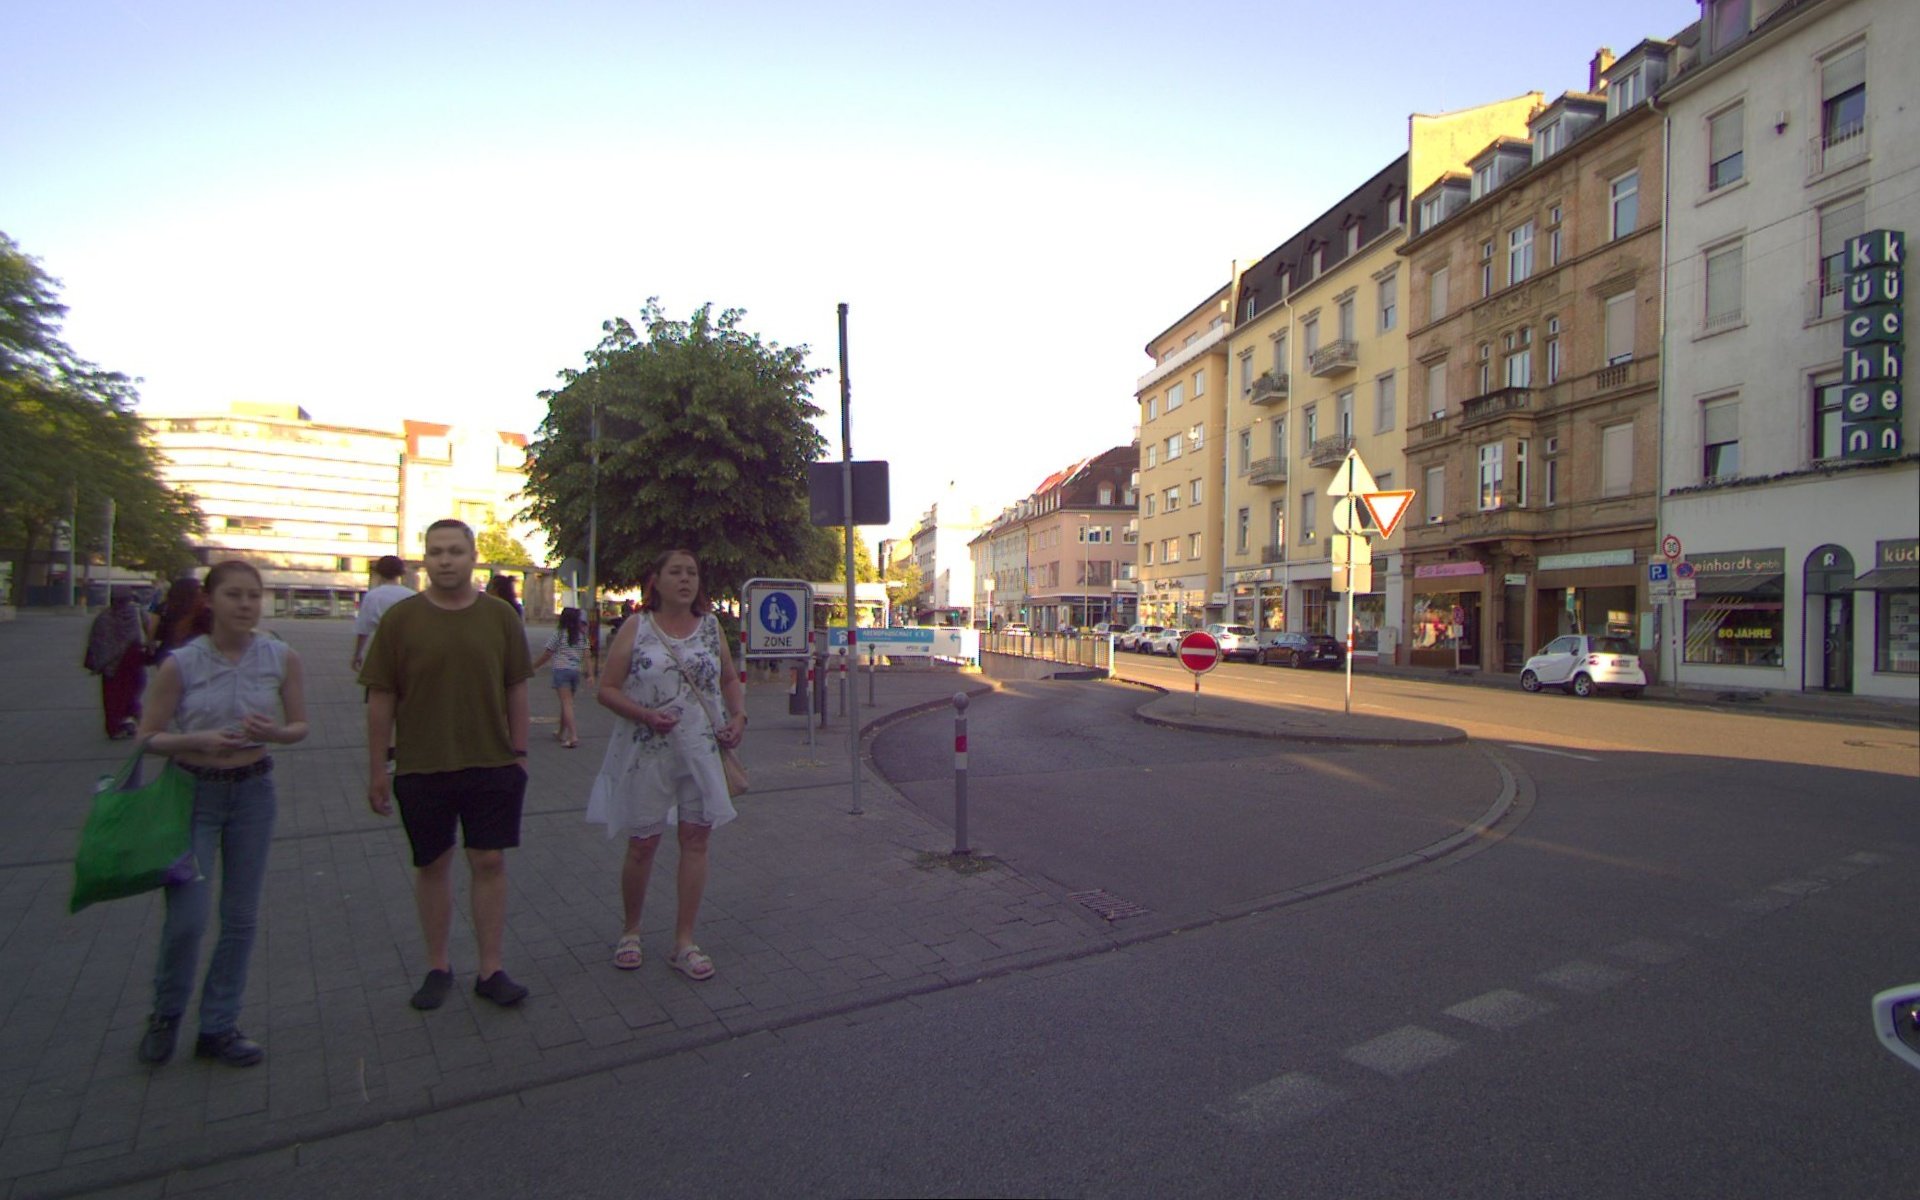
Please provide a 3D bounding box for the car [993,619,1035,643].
[{"bbox_3d":[4.016,2.308,75.114,2.300,1.625,3.887,2,-1,-10],"label":"car"}]

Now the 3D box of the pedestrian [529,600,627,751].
[{"bbox_3d":[-4.009,0.769,10.557,0.703,1.506,0.603,2,0,26],"label":"pedestrian"}]

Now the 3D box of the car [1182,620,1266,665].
[{"bbox_3d":[11.866,1.882,45.527,1.854,1.768,4.650,2,0,-10],"label":"car"}]

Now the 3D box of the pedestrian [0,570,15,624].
[{"bbox_3d":[-25.272,-0.088,25.864,1.257,1.398,0.729,2,-1,-39],"label":"pedestrian"}]

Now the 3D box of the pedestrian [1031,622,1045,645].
[{"bbox_3d":[6.054,2.595,77.958,0.784,1.743,0.809,2,-1,-17],"label":"pedestrian"}]

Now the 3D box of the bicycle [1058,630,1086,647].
[{"bbox_3d":[7.922,2.751,71.359,1.858,1.127,0.600,2,-1,-13],"label":"bicycle"}]

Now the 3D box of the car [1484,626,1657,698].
[{"bbox_3d":[15.897,1.570,26.419,1.675,1.606,3.992,2,0,-10],"label":"car"}]

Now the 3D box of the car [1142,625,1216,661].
[{"bbox_3d":[11.096,2.146,51.347,1.986,1.564,4.860,2,0,-10],"label":"car"}]

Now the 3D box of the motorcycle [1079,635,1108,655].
[{"bbox_3d":[9.044,3.042,68.047,1.787,1.280,0.714,1,-1,-13],"label":"motorcycle"}]

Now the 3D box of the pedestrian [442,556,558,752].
[{"bbox_3d":[-4.671,0.529,10.234,0.765,1.900,0.715,2,0,5],"label":"pedestrian"}]

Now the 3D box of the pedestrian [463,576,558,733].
[{"bbox_3d":[-5.295,0.621,11.852,0.675,1.769,0.715,2,0,26],"label":"pedestrian"}]

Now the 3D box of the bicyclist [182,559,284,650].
[{"bbox_3d":[-12.802,0.097,17.700,1.370,1.529,0.744,2,-1,-40],"label":"bicyclist"}]

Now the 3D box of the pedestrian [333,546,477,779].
[{"bbox_3d":[-4.828,0.511,8.726,0.975,1.878,0.881,2,0,-34],"label":"pedestrian"}]

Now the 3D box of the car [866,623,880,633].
[{"bbox_3d":[-13.689,4.380,158.512,1.856,1.505,3.994,2,-1,-9],"label":"car"}]

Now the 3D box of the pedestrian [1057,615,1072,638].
[{"bbox_3d":[7.880,1.992,75.719,0.863,1.743,0.752,3,-1,-35],"label":"pedestrian"}]

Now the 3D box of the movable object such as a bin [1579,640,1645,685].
[{"bbox_3d":[18.611,1.777,28.717,0.853,1.202,1.395,2,-1,-11],"label":"movable object such as a bin"}]

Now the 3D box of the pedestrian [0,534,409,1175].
[{"bbox_3d":[-2.419,0.669,3.204,0.701,1.691,0.881,2,0,29],"label":"pedestrian"}]

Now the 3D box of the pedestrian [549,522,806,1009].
[{"bbox_3d":[-1.220,0.629,4.285,0.872,1.827,0.709,2,0,-29],"label":"pedestrian"}]

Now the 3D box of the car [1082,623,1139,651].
[{"bbox_3d":[9.343,2.299,62.738,1.965,1.634,4.793,2,-2,-12],"label":"car"}]

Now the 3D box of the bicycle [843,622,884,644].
[{"bbox_3d":[-6.229,2.122,65.000,2.460,1.301,0.816,2,-1,10],"label":"bicycle"}]

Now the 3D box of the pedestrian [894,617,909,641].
[{"bbox_3d":[-4.346,2.148,74.298,0.872,1.743,0.712,3,-1,-22],"label":"pedestrian"}]

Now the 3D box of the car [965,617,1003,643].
[{"bbox_3d":[1.679,2.157,72.212,1.964,1.773,3.993,2,-1,-10],"label":"car"}]

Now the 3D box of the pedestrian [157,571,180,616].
[{"bbox_3d":[-35.650,-0.280,45.249,0.724,1.974,0.796,3,-1,-39],"label":"pedestrian"}]

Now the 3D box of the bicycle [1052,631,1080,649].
[{"bbox_3d":[7.649,2.882,72.274,1.858,1.183,0.721,2,-1,-14],"label":"bicycle"}]

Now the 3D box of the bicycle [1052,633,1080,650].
[{"bbox_3d":[7.722,3.002,73.107,1.858,1.127,0.760,3,-1,-14],"label":"bicycle"}]

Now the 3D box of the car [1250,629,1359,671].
[{"bbox_3d":[13.507,1.941,39.751,1.964,1.453,4.842,2,-1,-10],"label":"car"}]

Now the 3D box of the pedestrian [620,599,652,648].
[{"bbox_3d":[-13.783,0.997,42.725,0.896,2.040,0.919,2,-1,12],"label":"pedestrian"}]

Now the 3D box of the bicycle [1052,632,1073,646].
[{"bbox_3d":[7.537,2.843,73.687,1.480,1.039,0.511,1,-1,-15],"label":"bicycle"}]

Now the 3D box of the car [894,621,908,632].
[{"bbox_3d":[-9.904,4.497,168.578,1.964,1.803,3.993,2,-2,-10],"label":"car"}]

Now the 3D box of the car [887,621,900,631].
[{"bbox_3d":[-11.769,4.638,177.620,1.964,1.638,3.993,2,-2,-10],"label":"car"}]

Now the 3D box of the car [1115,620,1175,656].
[{"bbox_3d":[10.352,2.100,56.587,1.841,1.785,4.399,2,0,-11],"label":"car"}]

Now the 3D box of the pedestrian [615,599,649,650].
[{"bbox_3d":[-13.499,1.022,41.372,0.896,2.040,0.919,2,-1,12],"label":"pedestrian"}]

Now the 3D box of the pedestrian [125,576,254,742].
[{"bbox_3d":[-7.759,0.576,10.153,0.786,1.603,0.727,2,0,-18],"label":"pedestrian"}]

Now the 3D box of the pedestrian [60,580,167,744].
[{"bbox_3d":[-8.390,0.593,9.980,0.672,1.563,0.588,2,0,-29],"label":"pedestrian"}]

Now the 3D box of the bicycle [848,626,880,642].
[{"bbox_3d":[-6.480,2.295,67.774,2.014,0.983,0.634,4,-2,-12],"label":"bicycle"}]

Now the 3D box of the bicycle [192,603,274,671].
[{"bbox_3d":[-12.691,0.619,17.507,0.944,1.116,2.301,2,-2,-41],"label":"bicycle"}]

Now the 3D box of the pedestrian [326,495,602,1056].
[{"bbox_3d":[-1.944,0.602,3.929,0.843,1.901,0.708,2,0,-32],"label":"pedestrian"}]

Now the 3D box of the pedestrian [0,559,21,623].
[{"bbox_3d":[-25.630,-0.245,26.414,1.256,1.669,0.701,2,-1,-38],"label":"pedestrian"}]
